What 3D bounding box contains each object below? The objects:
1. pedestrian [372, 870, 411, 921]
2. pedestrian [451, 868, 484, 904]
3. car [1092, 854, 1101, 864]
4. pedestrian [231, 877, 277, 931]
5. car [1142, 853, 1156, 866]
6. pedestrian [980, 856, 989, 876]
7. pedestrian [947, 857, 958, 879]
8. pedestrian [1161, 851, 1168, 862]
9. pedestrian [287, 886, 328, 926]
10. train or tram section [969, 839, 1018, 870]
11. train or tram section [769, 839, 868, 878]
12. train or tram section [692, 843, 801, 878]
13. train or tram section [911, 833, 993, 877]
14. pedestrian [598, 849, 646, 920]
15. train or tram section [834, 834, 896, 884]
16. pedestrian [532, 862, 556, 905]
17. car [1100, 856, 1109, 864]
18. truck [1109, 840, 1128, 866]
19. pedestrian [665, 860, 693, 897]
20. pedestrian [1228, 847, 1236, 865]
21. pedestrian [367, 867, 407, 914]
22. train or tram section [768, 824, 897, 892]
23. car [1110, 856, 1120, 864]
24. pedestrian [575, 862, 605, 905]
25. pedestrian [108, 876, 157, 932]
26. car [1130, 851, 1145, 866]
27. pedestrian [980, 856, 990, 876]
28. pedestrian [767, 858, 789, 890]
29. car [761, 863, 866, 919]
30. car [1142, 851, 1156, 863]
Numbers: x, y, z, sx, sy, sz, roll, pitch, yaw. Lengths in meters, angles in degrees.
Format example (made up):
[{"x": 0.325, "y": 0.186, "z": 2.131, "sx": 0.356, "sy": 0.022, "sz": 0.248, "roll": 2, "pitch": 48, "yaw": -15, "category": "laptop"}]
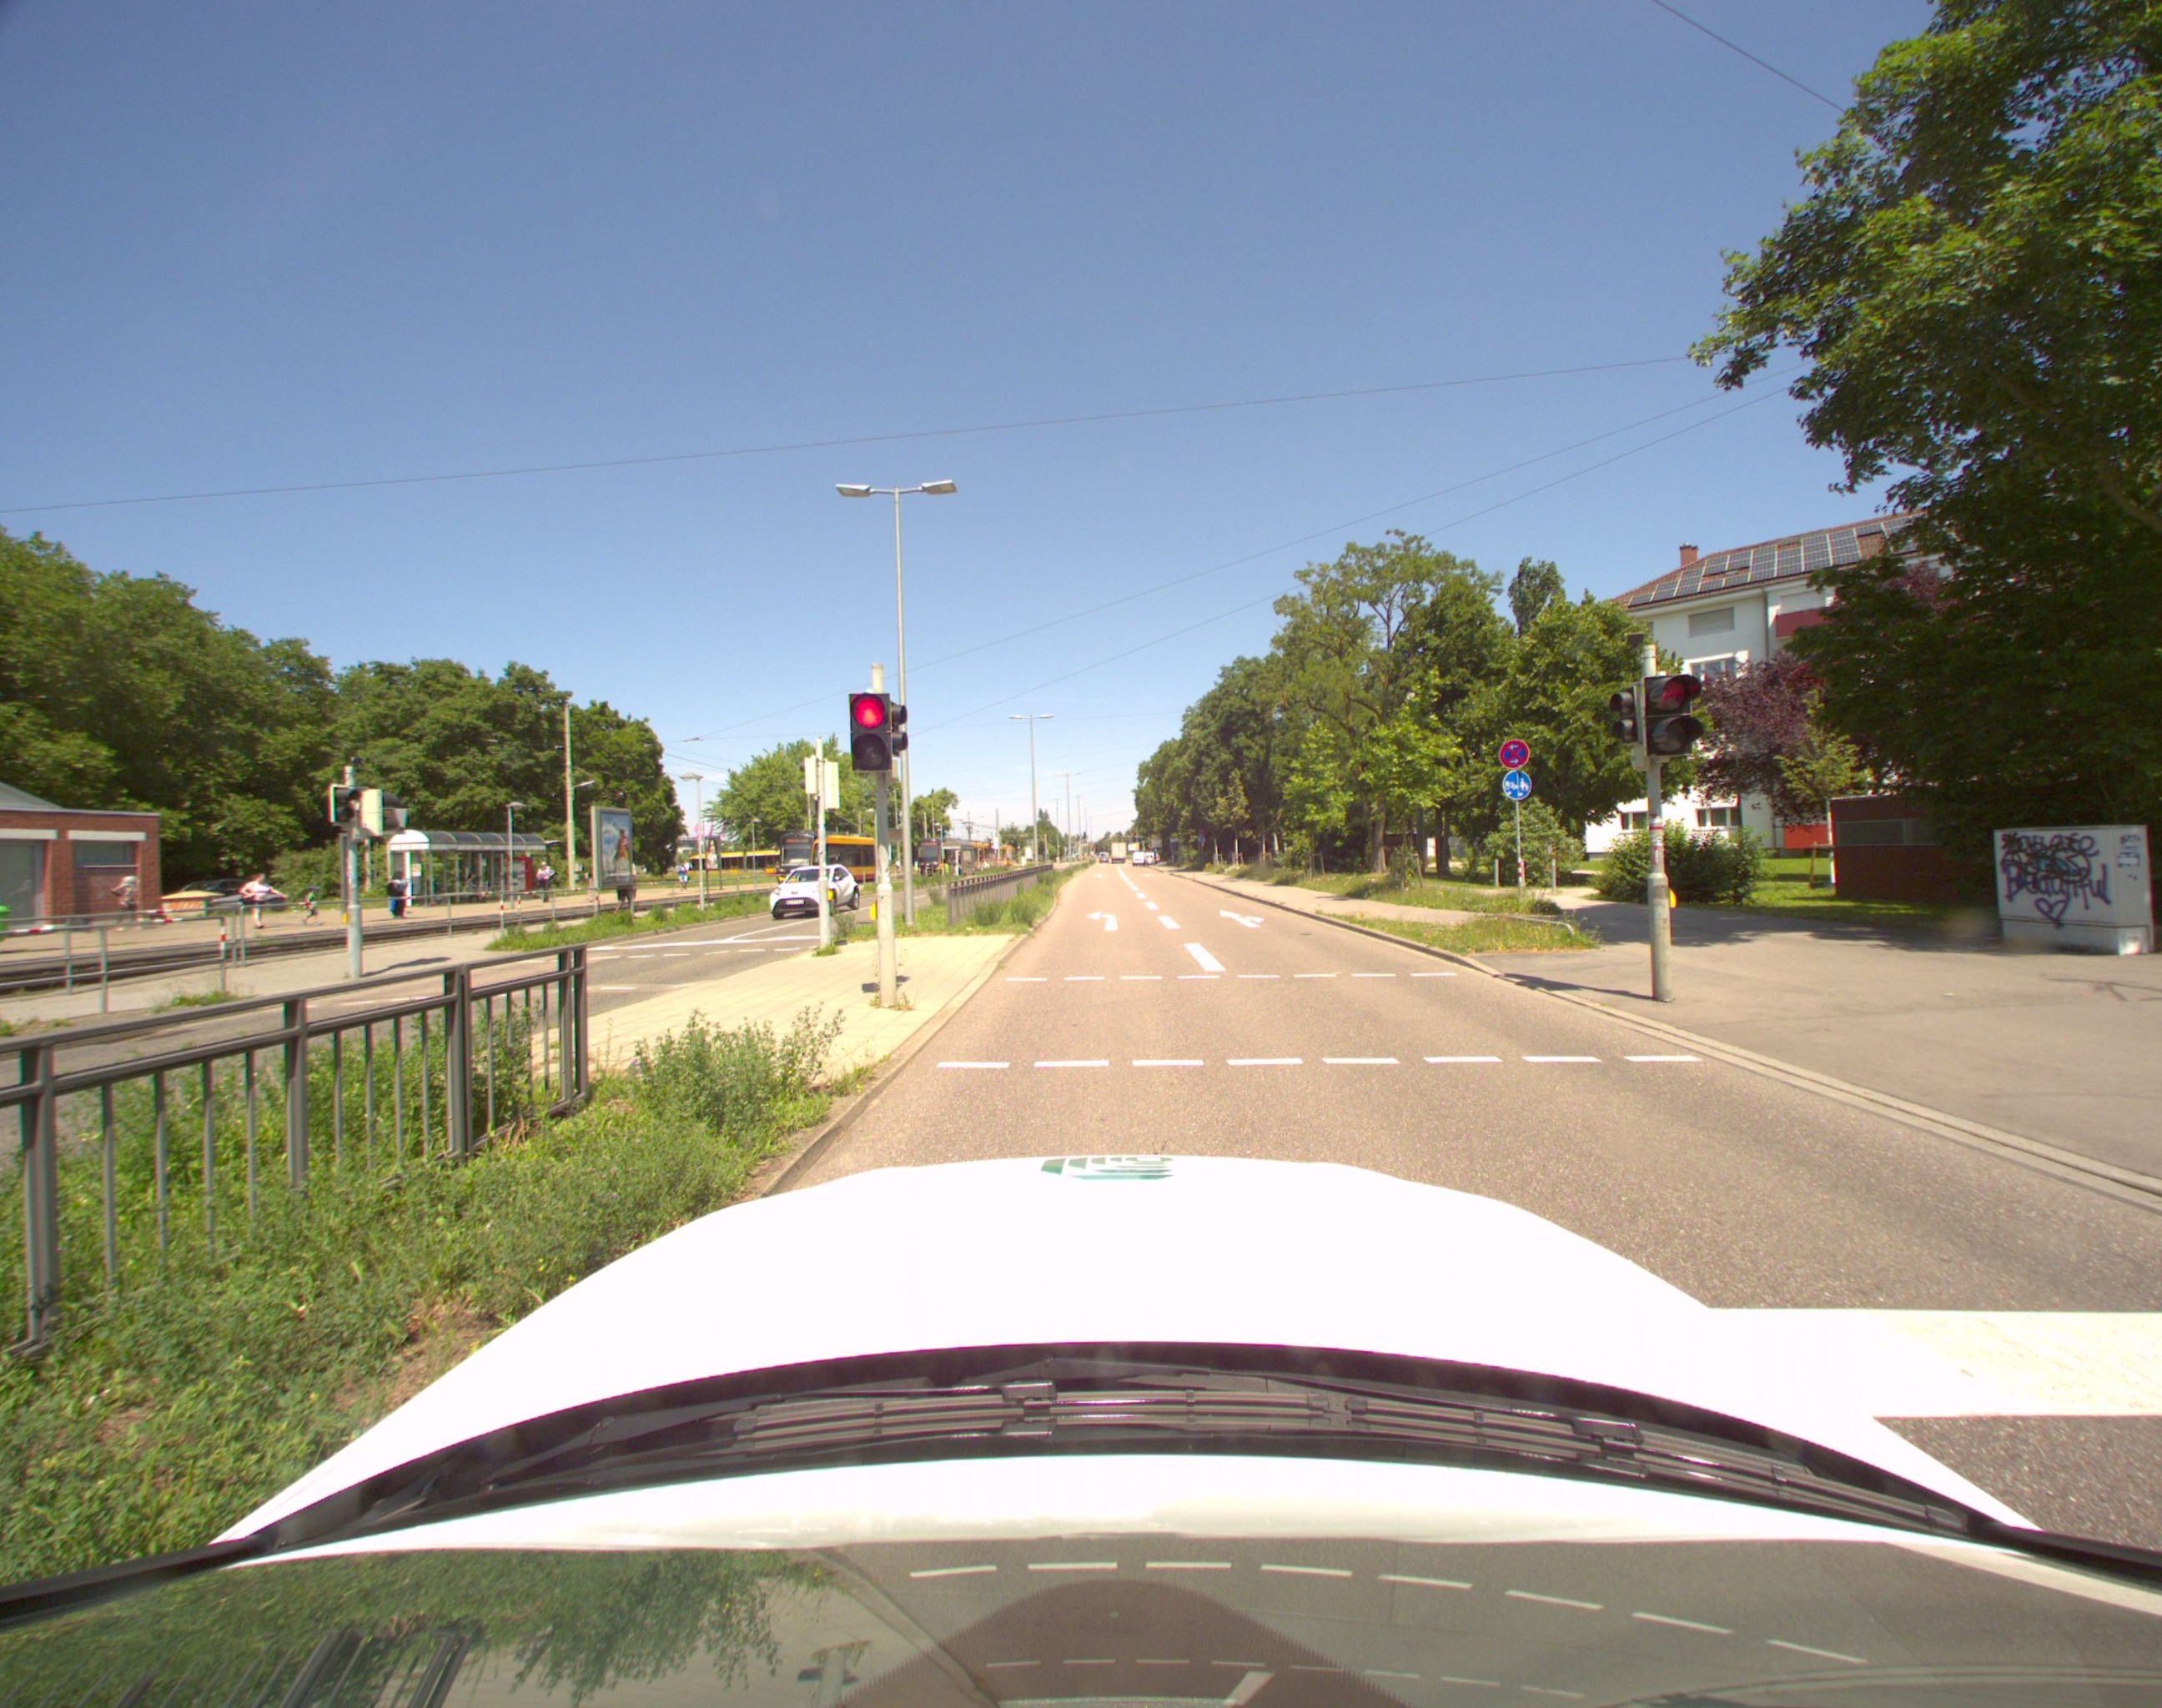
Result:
[{"x": -21.627, "y": 1.286, "z": 25.565, "sx": 0.635, "sy": 1.555, "sz": 0.691, "roll": -2, "pitch": 0, "yaw": -11, "category": "pedestrian"}, {"x": -26.283, "y": 1.373, "z": 34.893, "sx": 0.836, "sy": 1.511, "sz": 0.723, "roll": -2, "pitch": 0, "yaw": 12, "category": "pedestrian"}, {"x": 3.325, "y": 1.106, "z": 175.330, "sx": 1.986, "sy": 2.013, "sz": 4.002, "roll": -2, "pitch": 0, "yaw": 2, "category": "car"}, {"x": -23.039, "y": 1.393, "z": 22.698, "sx": 0.636, "sy": 1.456, "sz": 0.583, "roll": -2, "pitch": 0, "yaw": 1, "category": "pedestrian"}, {"x": 9.386, "y": 0.725, "z": 112.418, "sx": 1.773, "sy": 1.668, "sz": 4.002, "roll": -2, "pitch": 0, "yaw": 2, "category": "car"}, {"x": -10.131, "y": 1.256, "z": 85.363, "sx": 0.812, "sy": 2.013, "sz": 0.939, "roll": -2, "pitch": 0, "yaw": 1, "category": "pedestrian"}, {"x": -10.979, "y": 1.203, "z": 69.727, "sx": 0.783, "sy": 1.868, "sz": 0.818, "roll": -2, "pitch": 0, "yaw": 1, "category": "pedestrian"}, {"x": 16.738, "y": 0.495, "z": 163.117, "sx": 1.180, "sy": 2.013, "sz": 1.214, "roll": -2, "pitch": 0, "yaw": 1, "category": "pedestrian"}, {"x": -22.643, "y": 1.516, "z": 23.845, "sx": 0.636, "sy": 1.124, "sz": 0.570, "roll": -2, "pitch": 0, "yaw": 1, "category": "pedestrian"}, {"x": -12.080, "y": 0.087, "z": 117.047, "sx": 2.921, "sy": 3.789, "sz": 33.091, "roll": -2, "pitch": 0, "yaw": 1, "category": "train or tram section"}, {"x": -29.201, "y": 0.620, "z": 89.513, "sx": 3.244, "sy": 3.931, "sz": 18.277, "roll": -1, "pitch": 0, "yaw": -42, "category": "train or tram section"}, {"x": -41.677, "y": 0.884, "z": 100.772, "sx": 18.259, "sy": 3.931, "sz": 3.247, "roll": -2, "pitch": 0, "yaw": 36, "category": "train or tram section"}, {"x": -12.829, "y": 0.069, "z": 85.523, "sx": 2.947, "sy": 3.749, "sz": 30.041, "roll": -2, "pitch": 0, "yaw": 2, "category": "train or tram section"}, {"x": -12.081, "y": 0.774, "z": 21.441, "sx": 0.715, "sy": 1.777, "sz": 0.843, "roll": 3, "pitch": 2, "yaw": 1, "category": "pedestrian"}, {"x": -20.069, "y": 0.498, "z": 74.631, "sx": 3.228, "sy": 3.931, "sz": 18.364, "roll": -2, "pitch": 0, "yaw": -22, "category": "train or tram section"}, {"x": -23.504, "y": 1.278, "z": 35.645, "sx": 0.725, "sy": 1.800, "sz": 0.835, "roll": -1, "pitch": -1, "yaw": -41, "category": "pedestrian"}, {"x": 4.558, "y": 1.180, "z": 158.003, "sx": 1.804, "sy": 1.464, "sz": 4.002, "roll": -2, "pitch": 0, "yaw": 2, "category": "car"}, {"x": 6.771, "y": -0.161, "z": 146.135, "sx": 3.193, "sy": 4.359, "sz": 6.563, "roll": -2, "pitch": 0, "yaw": 2, "category": "truck"}, {"x": -22.650, "y": 1.372, "z": 45.923, "sx": 0.977, "sy": 2.013, "sz": 1.021, "roll": -2, "pitch": 0, "yaw": 1, "category": "pedestrian"}, {"x": 12.646, "y": 0.177, "z": 68.376, "sx": 0.600, "sy": 1.438, "sz": 0.557, "roll": -2, "pitch": 0, "yaw": 8, "category": "pedestrian"}, {"x": -24.272, "y": 1.281, "z": 28.486, "sx": 0.669, "sy": 1.590, "sz": 0.808, "roll": -2, "pitch": 0, "yaw": 1, "category": "pedestrian"}, {"x": -16.823, "y": 0.233, "z": 57.536, "sx": 3.205, "sy": 3.931, "sz": 18.500, "roll": -2, "pitch": 0, "yaw": 0, "category": "train or tram section"}, {"x": 6.486, "y": 1.153, "z": 153.686, "sx": 1.804, "sy": 1.464, "sz": 4.002, "roll": -2, "pitch": 0, "yaw": 2, "category": "car"}, {"x": -21.215, "y": 1.251, "z": 35.182, "sx": 0.715, "sy": 1.777, "sz": 0.843, "roll": 3, "pitch": 2, "yaw": 1, "category": "pedestrian"}, {"x": -26.176, "y": 1.373, "z": 22.485, "sx": 0.636, "sy": 1.480, "sz": 0.570, "roll": -2, "pitch": 0, "yaw": 1, "category": "pedestrian"}, {"x": 7.297, "y": 0.568, "z": 105.537, "sx": 1.773, "sy": 1.903, "sz": 4.002, "roll": -2, "pitch": 0, "yaw": 2, "category": "car"}, {"x": -9.910, "y": 1.243, "z": 84.064, "sx": 0.812, "sy": 2.013, "sz": 0.939, "roll": -2, "pitch": 0, "yaw": 1, "category": "pedestrian"}, {"x": -19.630, "y": 1.288, "z": 52.751, "sx": 0.977, "sy": 2.013, "sz": 1.021, "roll": -2, "pitch": 0, "yaw": 1, "category": "pedestrian"}, {"x": -8.091, "y": 1.075, "z": 25.001, "sx": 1.838, "sy": 1.494, "sz": 3.793, "roll": -2, "pitch": 0, "yaw": 2, "category": "car"}, {"x": 9.907, "y": 0.467, "z": 118.759, "sx": 1.773, "sy": 1.668, "sz": 4.002, "roll": -2, "pitch": 0, "yaw": 2, "category": "car"}]
